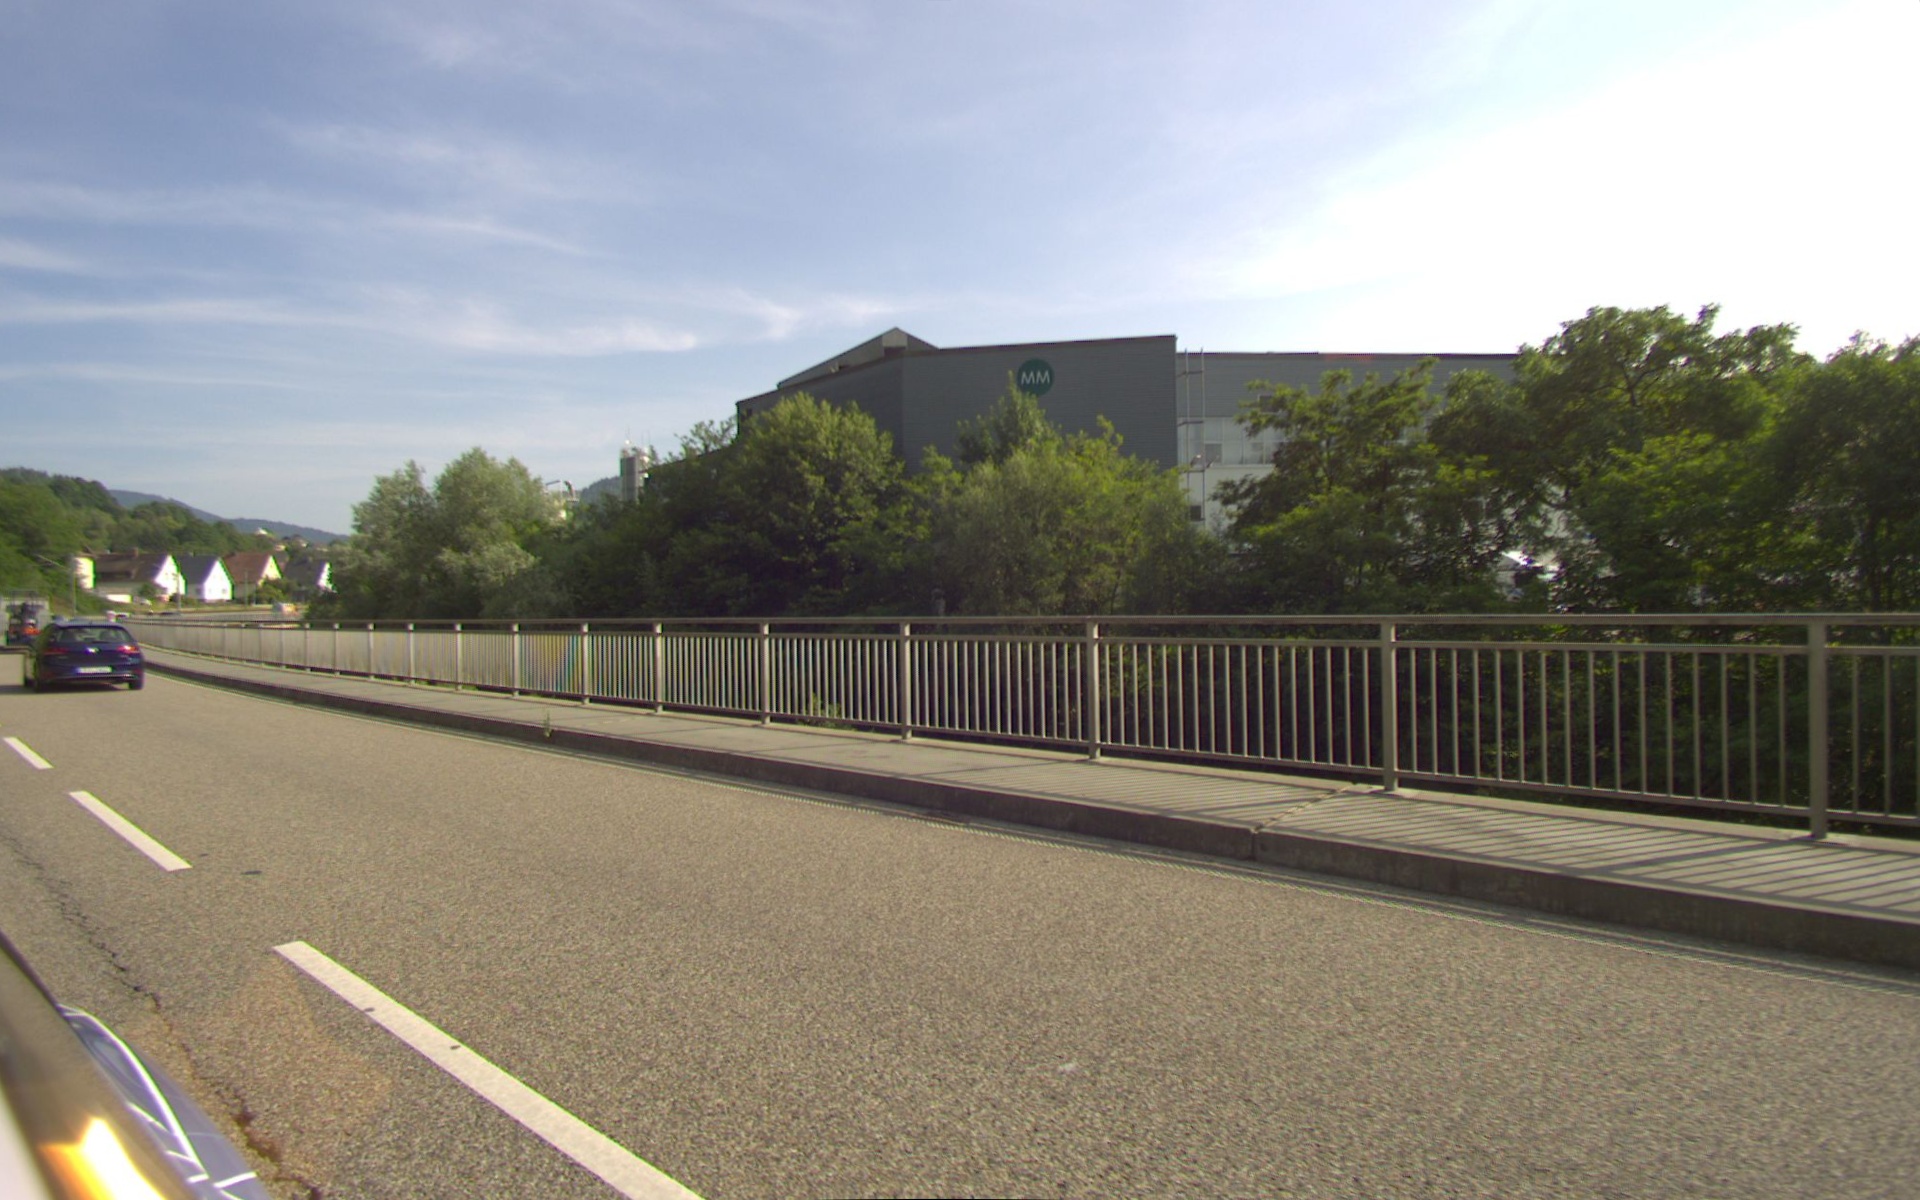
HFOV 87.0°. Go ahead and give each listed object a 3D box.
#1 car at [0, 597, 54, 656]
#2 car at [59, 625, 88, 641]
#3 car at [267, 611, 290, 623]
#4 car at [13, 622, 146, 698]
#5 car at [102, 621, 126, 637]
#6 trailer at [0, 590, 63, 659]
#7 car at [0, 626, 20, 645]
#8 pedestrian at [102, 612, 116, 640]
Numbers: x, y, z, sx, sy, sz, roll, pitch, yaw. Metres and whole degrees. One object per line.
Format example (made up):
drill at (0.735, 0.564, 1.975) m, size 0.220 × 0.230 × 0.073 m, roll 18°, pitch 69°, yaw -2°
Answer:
car at (-43.812, 1.219, 47.048) m, size 6.581 × 2.551 × 2.134 m, roll -1°, pitch -2°, yaw 45°
car at (-73.767, 2.727, 84.243) m, size 1.564 × 1.320 × 3.508 m, roll 3°, pitch -3°, yaw -37°
car at (-111.211, 2.799, 165.172) m, size 1.966 × 1.874 × 4.012 m, roll 0°, pitch -1°, yaw -17°
car at (-18.852, 1.207, 21.609) m, size 4.074 × 1.442 × 1.685 m, roll -1°, pitch -1°, yaw 42°
car at (-86.447, 2.999, 103.474) m, size 1.699 × 1.596 × 3.507 m, roll 3°, pitch -3°, yaw -38°
trailer at (-39.608, 1.036, 42.828) m, size 5.350 × 2.737 × 2.097 m, roll -1°, pitch -2°, yaw 45°
car at (-74.058, 2.741, 78.137) m, size 1.626 × 1.443 × 3.340 m, roll 3°, pitch -3°, yaw -35°
pedestrian at (-57.007, 1.748, 67.815) m, size 0.708 × 1.832 × 0.878 m, roll 1°, pitch -1°, yaw -40°
